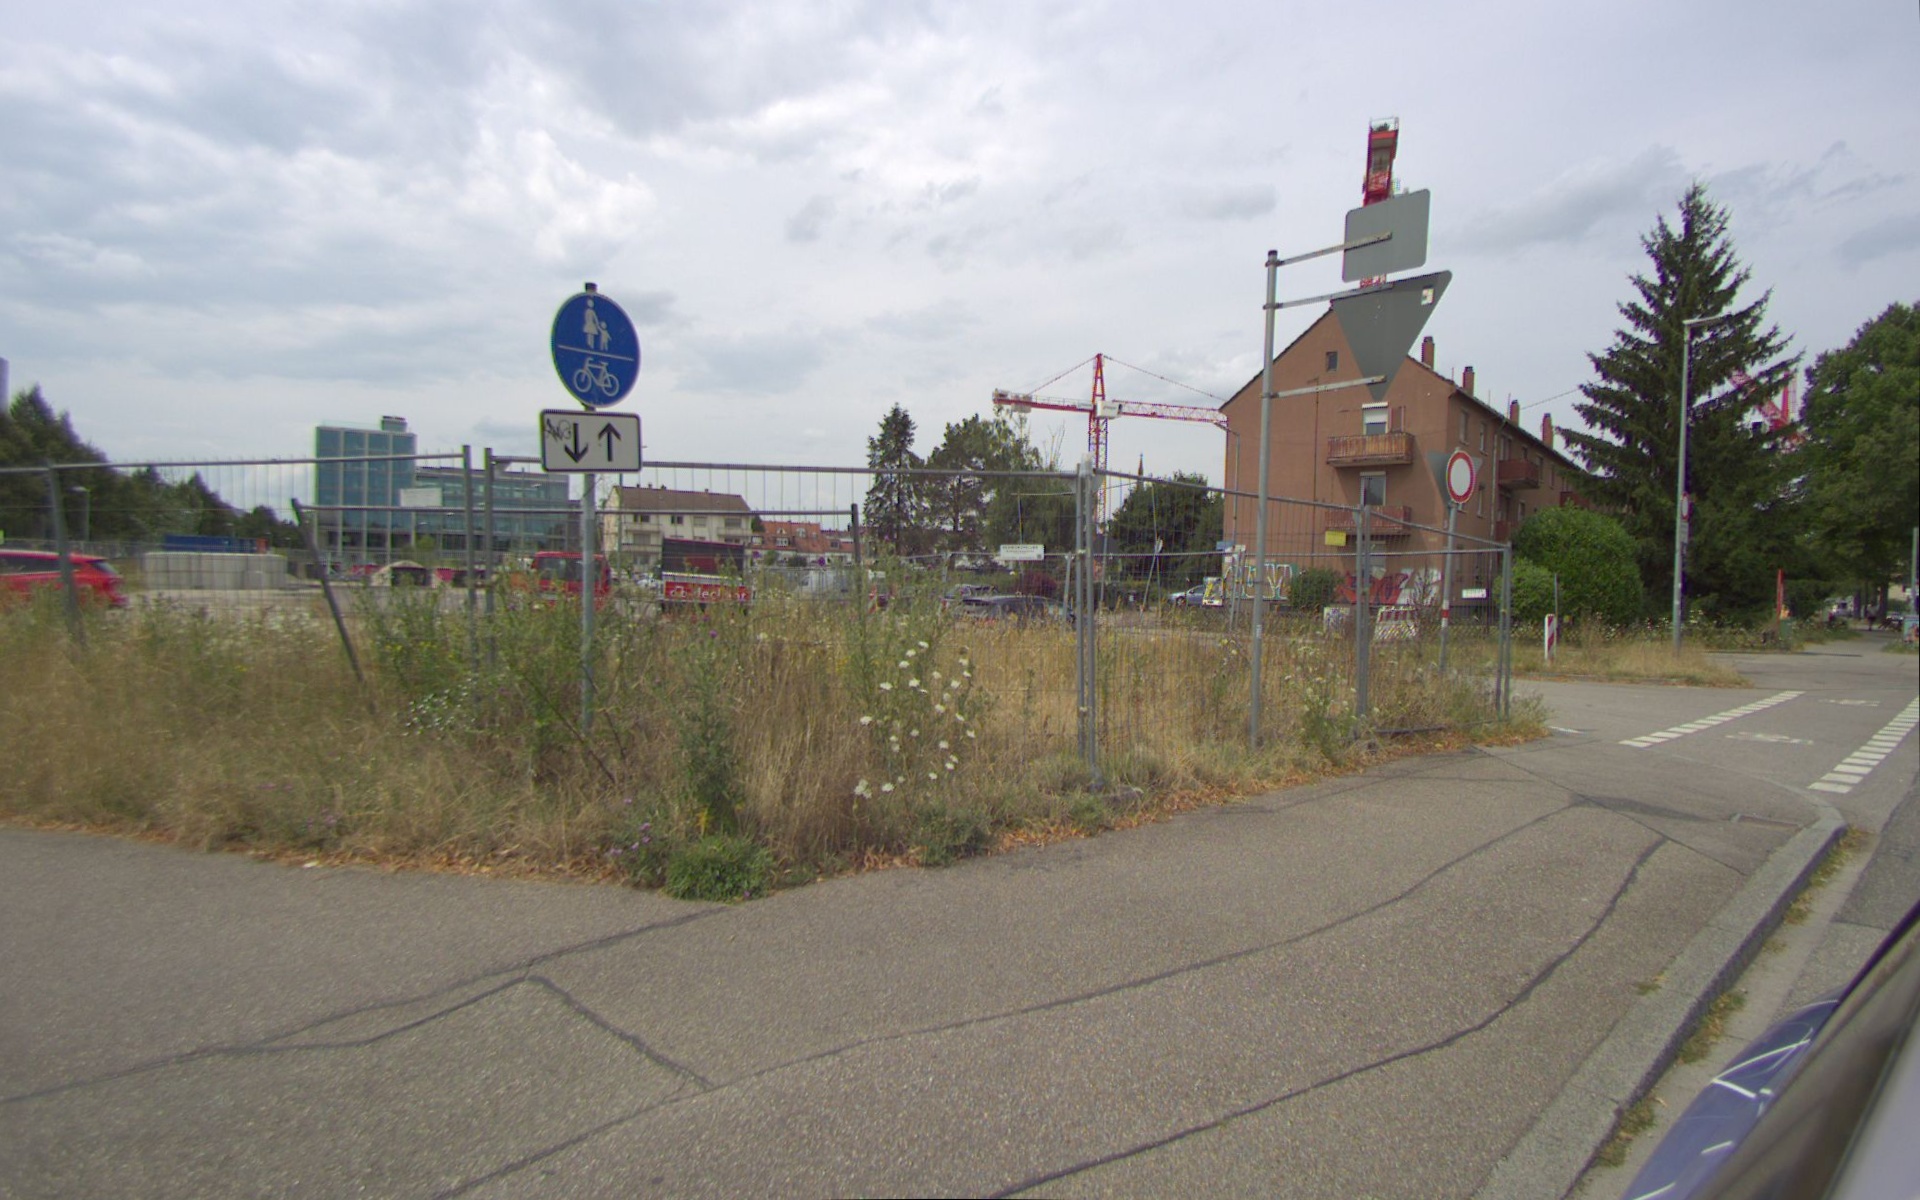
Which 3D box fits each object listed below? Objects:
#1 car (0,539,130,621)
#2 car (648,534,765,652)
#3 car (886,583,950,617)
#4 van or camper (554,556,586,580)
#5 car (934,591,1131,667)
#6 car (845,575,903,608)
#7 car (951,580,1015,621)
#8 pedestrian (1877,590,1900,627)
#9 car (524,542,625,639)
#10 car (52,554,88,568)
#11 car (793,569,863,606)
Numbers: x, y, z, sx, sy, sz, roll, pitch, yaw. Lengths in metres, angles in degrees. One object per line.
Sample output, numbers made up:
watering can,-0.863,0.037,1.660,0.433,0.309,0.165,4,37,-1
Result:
car,-19.926,-0.426,20.224,5.043,1.624,1.789,1,1,-37
car,-6.292,-0.207,24.480,2.269,2.442,6.557,1,1,-18
car,-2.249,-0.029,53.039,1.765,1.622,4.020,1,1,-28
van or camper,-45.996,-3.772,119.335,2.307,2.721,5.247,1,1,-34
car,1.647,0.601,22.353,4.179,1.492,1.767,1,1,-37
car,-4.918,-0.527,57.391,1.820,1.771,4.019,1,1,-29
car,1.074,-0.012,48.739,1.764,1.872,4.009,1,1,-19
pedestrian,52.696,0.467,57.419,0.851,2.039,0.722,2,0,38
car,-9.006,-0.242,23.916,1.896,1.934,4.999,4,0,-19
car,-91.497,-4.022,104.086,1.960,1.391,4.005,1,1,-30
car,-8.140,-0.812,62.075,2.107,2.163,4.909,1,1,-36
